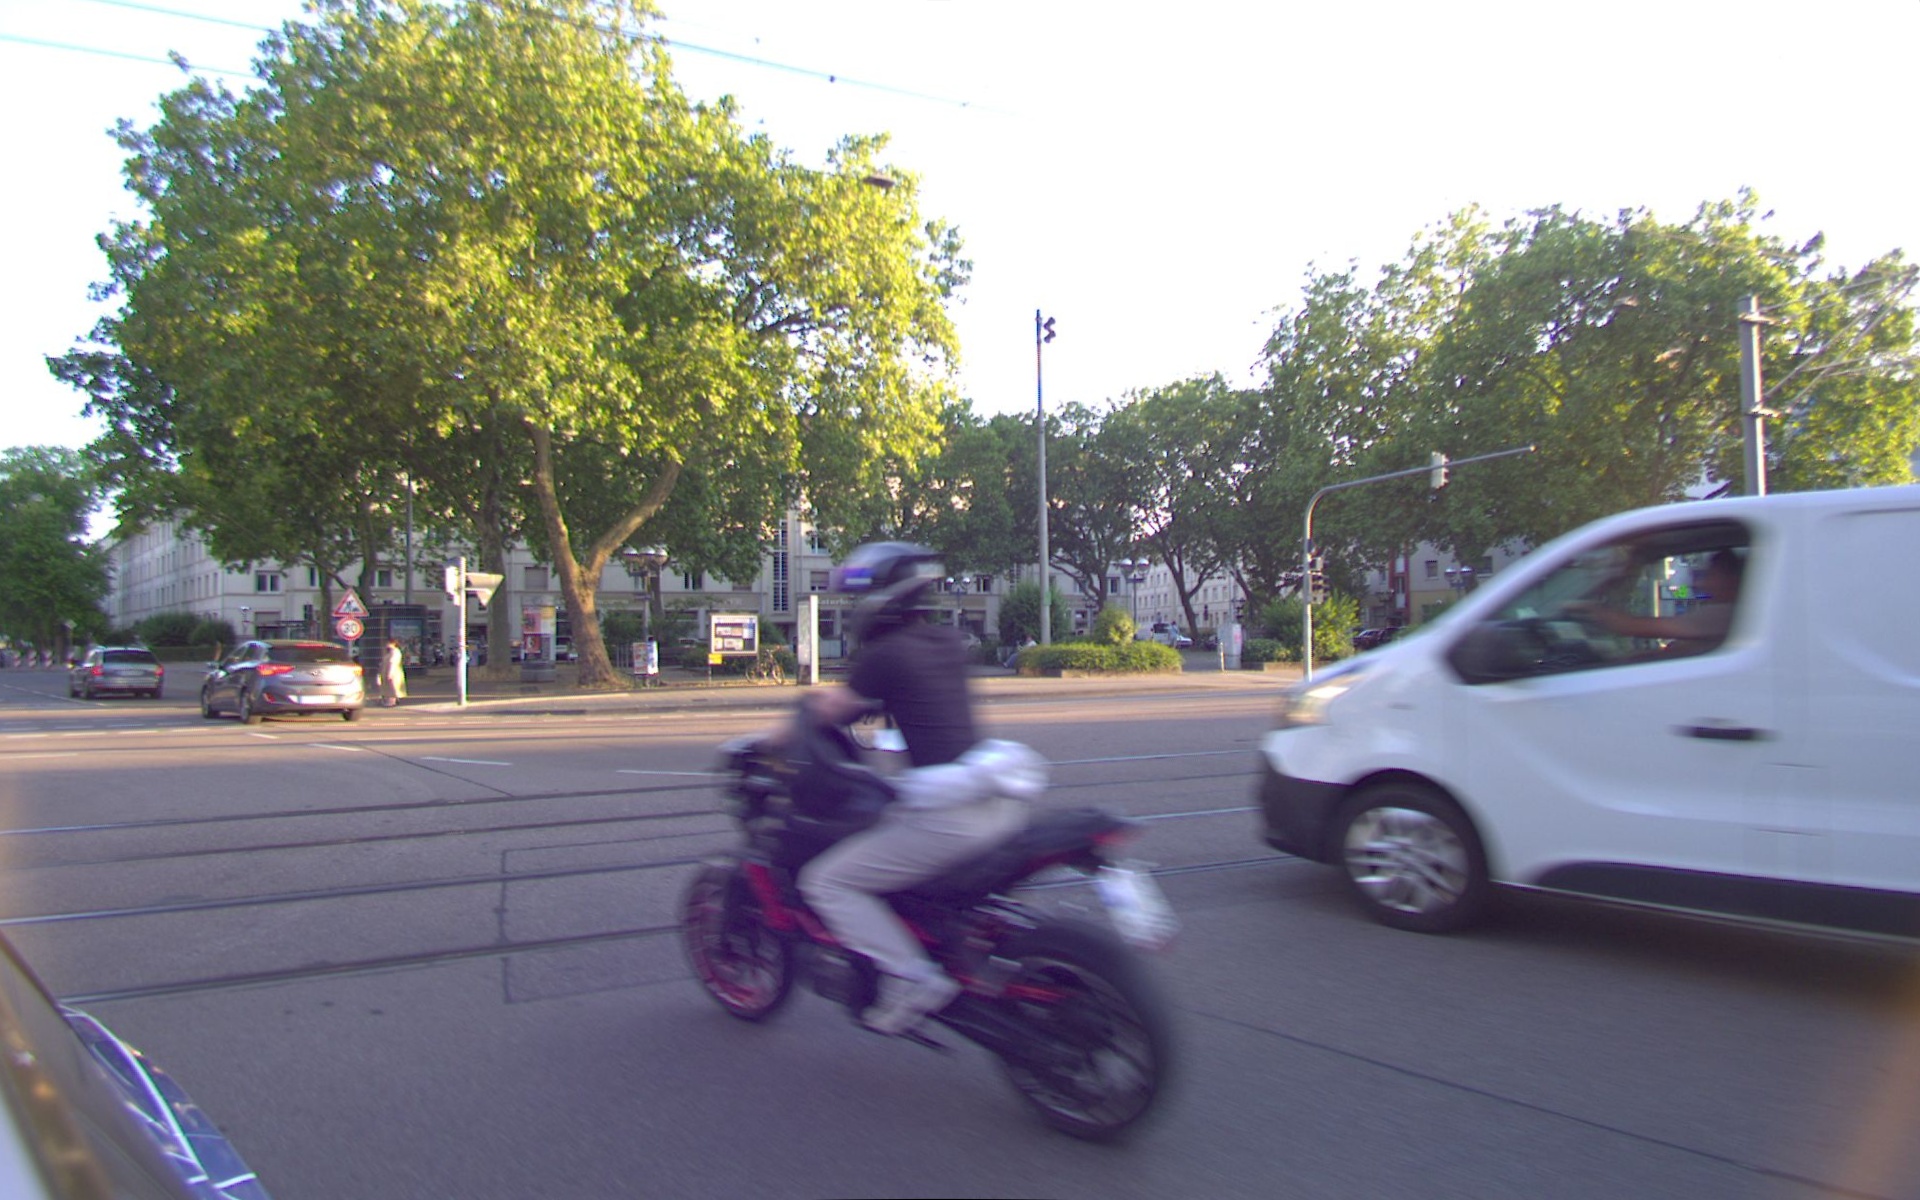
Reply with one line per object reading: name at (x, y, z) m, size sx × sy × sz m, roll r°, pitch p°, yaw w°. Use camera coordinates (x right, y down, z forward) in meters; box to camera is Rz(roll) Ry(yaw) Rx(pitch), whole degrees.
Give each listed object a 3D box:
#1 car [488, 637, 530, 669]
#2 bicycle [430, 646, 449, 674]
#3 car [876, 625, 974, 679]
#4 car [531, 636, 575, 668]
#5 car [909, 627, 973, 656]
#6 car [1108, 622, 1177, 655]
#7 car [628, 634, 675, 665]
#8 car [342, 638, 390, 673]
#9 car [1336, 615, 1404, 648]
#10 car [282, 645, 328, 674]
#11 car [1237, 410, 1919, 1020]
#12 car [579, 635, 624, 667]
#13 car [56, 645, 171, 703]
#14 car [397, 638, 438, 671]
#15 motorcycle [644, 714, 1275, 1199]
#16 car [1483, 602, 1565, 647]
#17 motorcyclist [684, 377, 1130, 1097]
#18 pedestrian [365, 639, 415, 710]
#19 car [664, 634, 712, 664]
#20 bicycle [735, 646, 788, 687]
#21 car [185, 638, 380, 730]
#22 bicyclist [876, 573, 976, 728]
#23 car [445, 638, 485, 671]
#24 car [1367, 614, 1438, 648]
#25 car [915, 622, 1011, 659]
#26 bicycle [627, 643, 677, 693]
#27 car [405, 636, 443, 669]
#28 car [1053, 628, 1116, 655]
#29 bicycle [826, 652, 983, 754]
car at (-26.439, 3.131, 59.241) m, size 1.965 × 1.795 × 4.655 m, roll 1°, pitch -4°, yaw -27°
bicycle at (-27.651, 3.153, 53.736) m, size 0.680 × 1.394 × 2.754 m, roll -1°, pitch -1°, yaw -23°
car at (-1.336, 1.891, 36.218) m, size 1.965 × 1.795 × 4.655 m, roll 1°, pitch -4°, yaw -22°
car at (-24.291, 3.121, 60.275) m, size 1.965 × 1.795 × 4.655 m, roll 1°, pitch -4°, yaw -27°
car at (-1.217, 2.618, 64.349) m, size 3.696 × 1.674 × 1.679 m, roll -1°, pitch -1°, yaw -22°
car at (11.725, 2.495, 65.371) m, size 1.965 × 1.953 × 4.655 m, roll 1°, pitch -4°, yaw -27°
car at (-19.159, 3.090, 62.743) m, size 1.965 × 1.795 × 4.655 m, roll 1°, pitch -4°, yaw -27°
car at (-32.771, 3.102, 55.943) m, size 1.965 × 1.795 × 4.655 m, roll 1°, pitch -4°, yaw -27°
car at (26.940, 2.031, 66.471) m, size 3.931 × 2.029 × 2.006 m, roll -1°, pitch -1°, yaw -26°
car at (-35.703, 3.257, 55.138) m, size 1.966 × 1.515 × 4.653 m, roll 2°, pitch -5°, yaw -33°
car at (3.871, 0.400, 4.092) m, size 4.948 × 2.029 × 1.973 m, roll -2°, pitch -3°, yaw 41°
car at (-21.764, 3.115, 61.303) m, size 1.965 × 1.795 × 4.655 m, roll 1°, pitch -4°, yaw -27°
car at (-24.795, 2.117, 29.592) m, size 4.768 × 1.570 × 1.972 m, roll -3°, pitch -4°, yaw 43°
car at (-30.694, 3.123, 57.353) m, size 1.965 × 1.795 × 4.655 m, roll 1°, pitch -4°, yaw -27°
motorcycle at (-0.136, 0.938, 2.987) m, size 1.945 × 1.051 × 0.593 m, roll -2°, pitch -1°, yaw 41°
car at (31.290, 1.338, 56.148) m, size 3.931 × 2.361 × 2.006 m, roll -1°, pitch -1°, yaw -25°
motorcyclist at (-0.158, 0.323, 2.982) m, size 0.963 × 1.657 × 0.865 m, roll -2°, pitch -1°, yaw 41°
pedestrian at (-13.675, 1.761, 24.271) m, size 0.772 × 1.640 × 0.794 m, roll -2°, pitch -1°, yaw 37°
car at (-17.285, 3.153, 64.120) m, size 1.965 × 1.795 × 4.655 m, roll 1°, pitch -4°, yaw -27°
bicycle at (-5.673, 1.875, 28.807) m, size 1.798 × 1.101 × 0.453 m, roll -2°, pitch -1°, yaw 40°
car at (-12.451, 1.455, 18.514) m, size 4.137 × 1.488 × 1.972 m, roll -3°, pitch -3°, yaw 41°
bicyclist at (-0.393, 0.554, 11.420) m, size 0.963 × 1.657 × 0.593 m, roll -2°, pitch -1°, yaw 41°
car at (-28.517, 3.137, 58.207) m, size 1.965 × 1.795 × 4.655 m, roll 1°, pitch -4°, yaw -27°
car at (28.160, 1.974, 64.378) m, size 3.931 × 2.029 × 2.006 m, roll -1°, pitch -1°, yaw -26°
car at (0.135, 2.076, 51.272) m, size 4.423 × 1.795 × 2.006 m, roll 1°, pitch -4°, yaw -27°
bicycle at (-8.697, 1.896, 28.495) m, size 0.519 × 1.336 × 1.996 m, roll 0°, pitch -1°, yaw -43°
car at (-35.241, 3.438, 66.649) m, size 1.965 × 1.970 × 4.656 m, roll 1°, pitch -1°, yaw -25°
car at (9.230, 3.124, 75.607) m, size 1.967 × 1.824 × 4.659 m, roll 2°, pitch -5°, yaw -37°
bicycle at (-0.670, 1.147, 11.702) m, size 1.945 × 1.051 × 0.593 m, roll -2°, pitch -1°, yaw 41°
